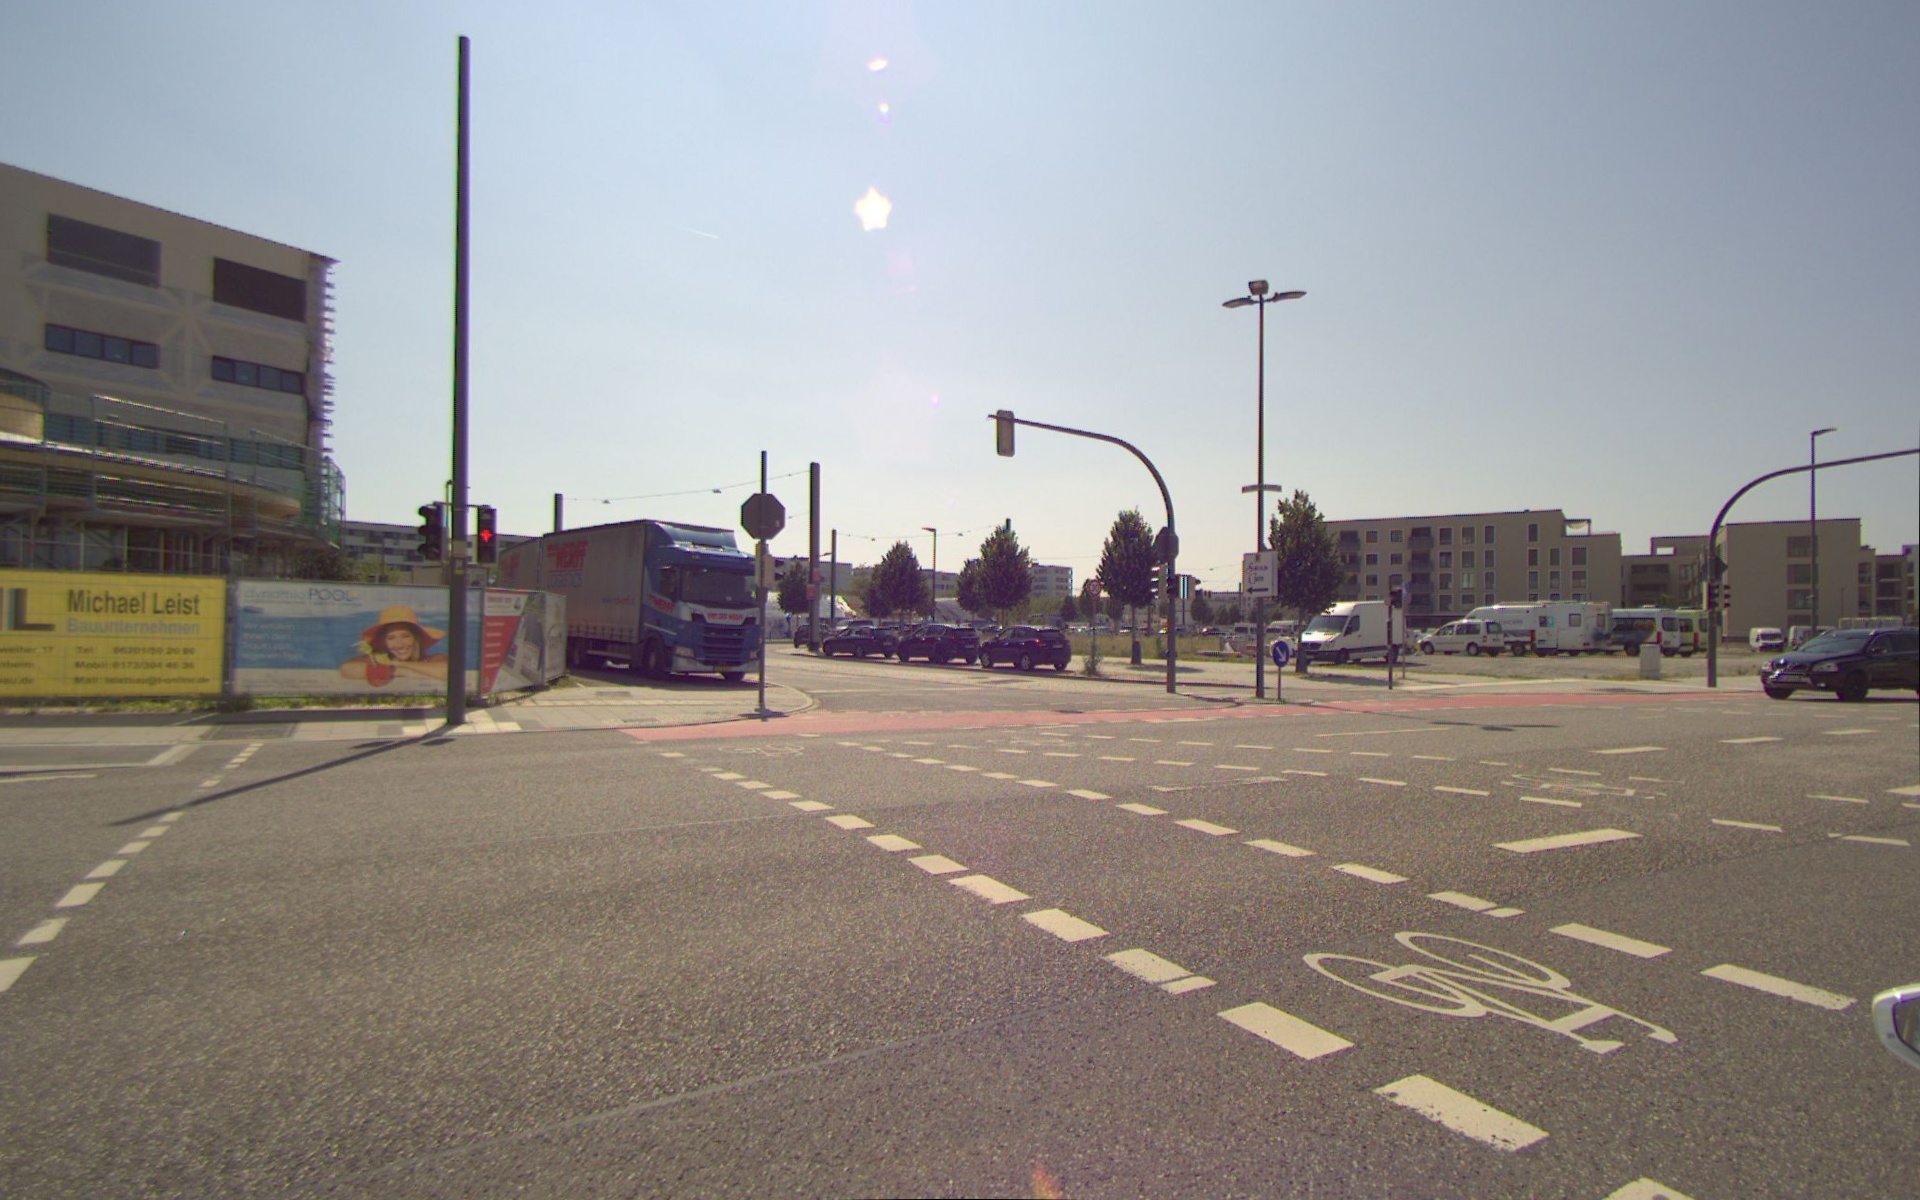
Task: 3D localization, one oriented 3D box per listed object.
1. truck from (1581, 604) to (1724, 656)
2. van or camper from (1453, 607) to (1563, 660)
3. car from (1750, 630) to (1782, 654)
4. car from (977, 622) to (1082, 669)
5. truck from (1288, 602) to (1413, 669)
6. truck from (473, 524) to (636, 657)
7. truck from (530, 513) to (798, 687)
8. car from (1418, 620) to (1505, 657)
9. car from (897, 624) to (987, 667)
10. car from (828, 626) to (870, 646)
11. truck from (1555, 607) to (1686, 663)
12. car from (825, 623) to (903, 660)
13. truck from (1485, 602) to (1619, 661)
[{"bbox_3d":[40.674,1.693,59.294,2.566,2.863,6.621,1,0,-23],"label":"truck"},{"bbox_3d":[29.392,1.737,54.080,2.228,2.697,4.888,1,0,-23],"label":"van or camper"},{"bbox_3d":[80.667,4.215,100.573,1.965,2.270,3.991,1,0,31],"label":"car"},{"bbox_3d":[2.624,1.713,38.632,1.864,1.661,3.956,2,-1,-38],"label":"car"},{"bbox_3d":[16.773,1.524,42.972,5.888,2.690,2.152,2,-2,-36],"label":"truck"},{"bbox_3d":[-15.707,-0.348,38.210,3.312,4.332,10.842,2,0,-35],"label":"truck"},{"bbox_3d":[-8.977,-0.049,29.070,3.276,4.121,10.851,3,0,-40],"label":"truck"},{"bbox_3d":[26.141,1.994,52.461,1.636,1.782,3.852,1,0,-26],"label":"car"},{"bbox_3d":[-0.818,1.894,42.879,1.864,1.661,3.956,2,-1,-38],"label":"car"},{"bbox_3d":[-10.428,3.363,94.578,1.792,1.709,3.990,1,0,32],"label":"car"},{"bbox_3d":[37.709,1.952,57.602,2.533,2.862,5.823,2,0,-22],"label":"truck"},{"bbox_3d":[-4.549,1.928,47.294,1.864,1.551,3.860,-1,1,-38],"label":"car"},{"bbox_3d":[33.022,1.700,56.266,2.533,2.939,6.132,2,0,-22],"label":"truck"}]
